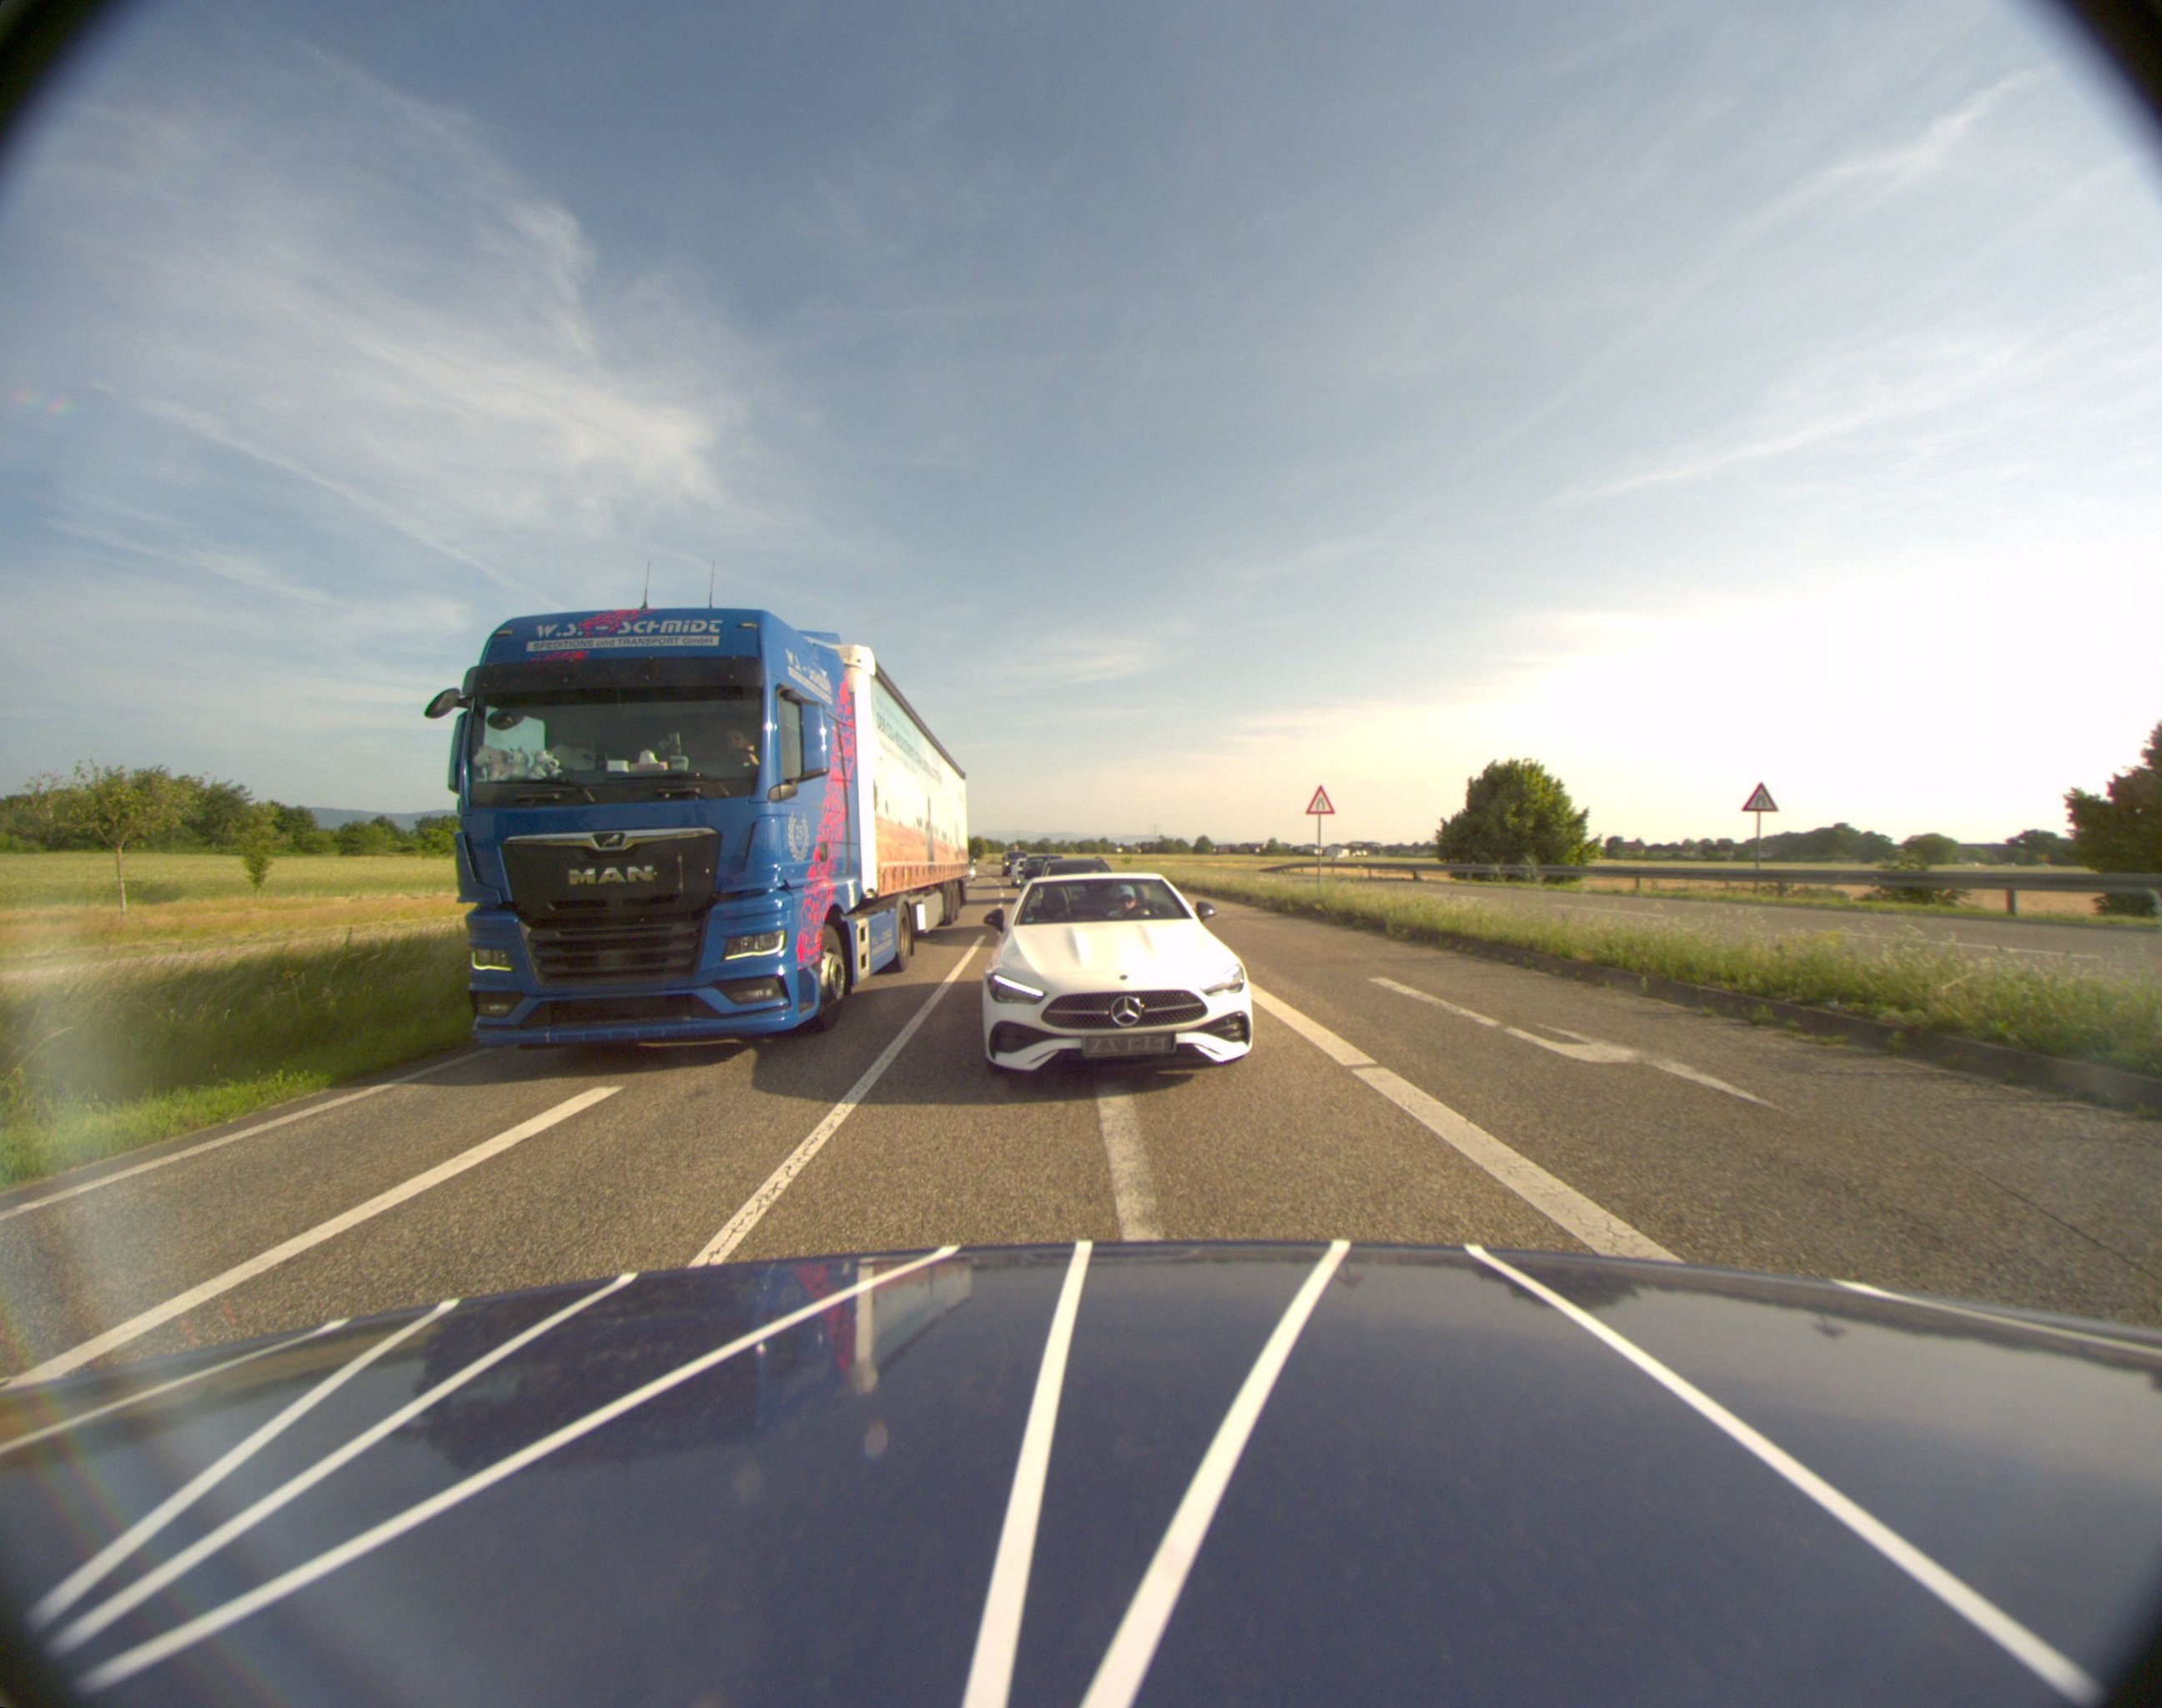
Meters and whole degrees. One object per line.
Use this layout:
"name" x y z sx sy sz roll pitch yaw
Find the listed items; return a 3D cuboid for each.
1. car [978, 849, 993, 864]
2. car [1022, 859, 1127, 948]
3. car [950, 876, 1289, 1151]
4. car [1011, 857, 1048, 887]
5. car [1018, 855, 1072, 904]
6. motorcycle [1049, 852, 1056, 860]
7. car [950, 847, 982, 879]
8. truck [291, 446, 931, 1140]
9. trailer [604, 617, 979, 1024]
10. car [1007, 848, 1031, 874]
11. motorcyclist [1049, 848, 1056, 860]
"car" -13.394 0.290 106.472 2.000 2.002 3.997 -1 0 -8
"car" -0.245 0.889 15.220 1.586 1.496 3.658 -1 0 -8
"car" 0.177 0.980 6.391 1.941 1.389 3.917 -2 1 -2
"car" -2.624 0.853 37.917 1.558 1.392 4.032 -1 0 -8
"car" -1.282 0.826 25.967 1.558 1.550 3.046 -1 0 -8
"motorcycle" -4.138 0.295 110.810 0.940 1.118 2.169 -2 0 -5
"car" -7.591 0.593 50.396 2.000 2.002 3.997 -1 0 -8
"truck" -3.709 -0.462 8.059 3.309 4.631 5.729 -2 1 -4
"trailer" -4.213 -0.508 15.419 3.291 4.654 13.139 -2 1 -4
"car" -4.726 0.490 57.588 1.558 1.909 4.032 -1 0 -8
"motorcyclist" -4.144 -0.009 110.907 0.906 1.748 0.831 -2 1 -6
